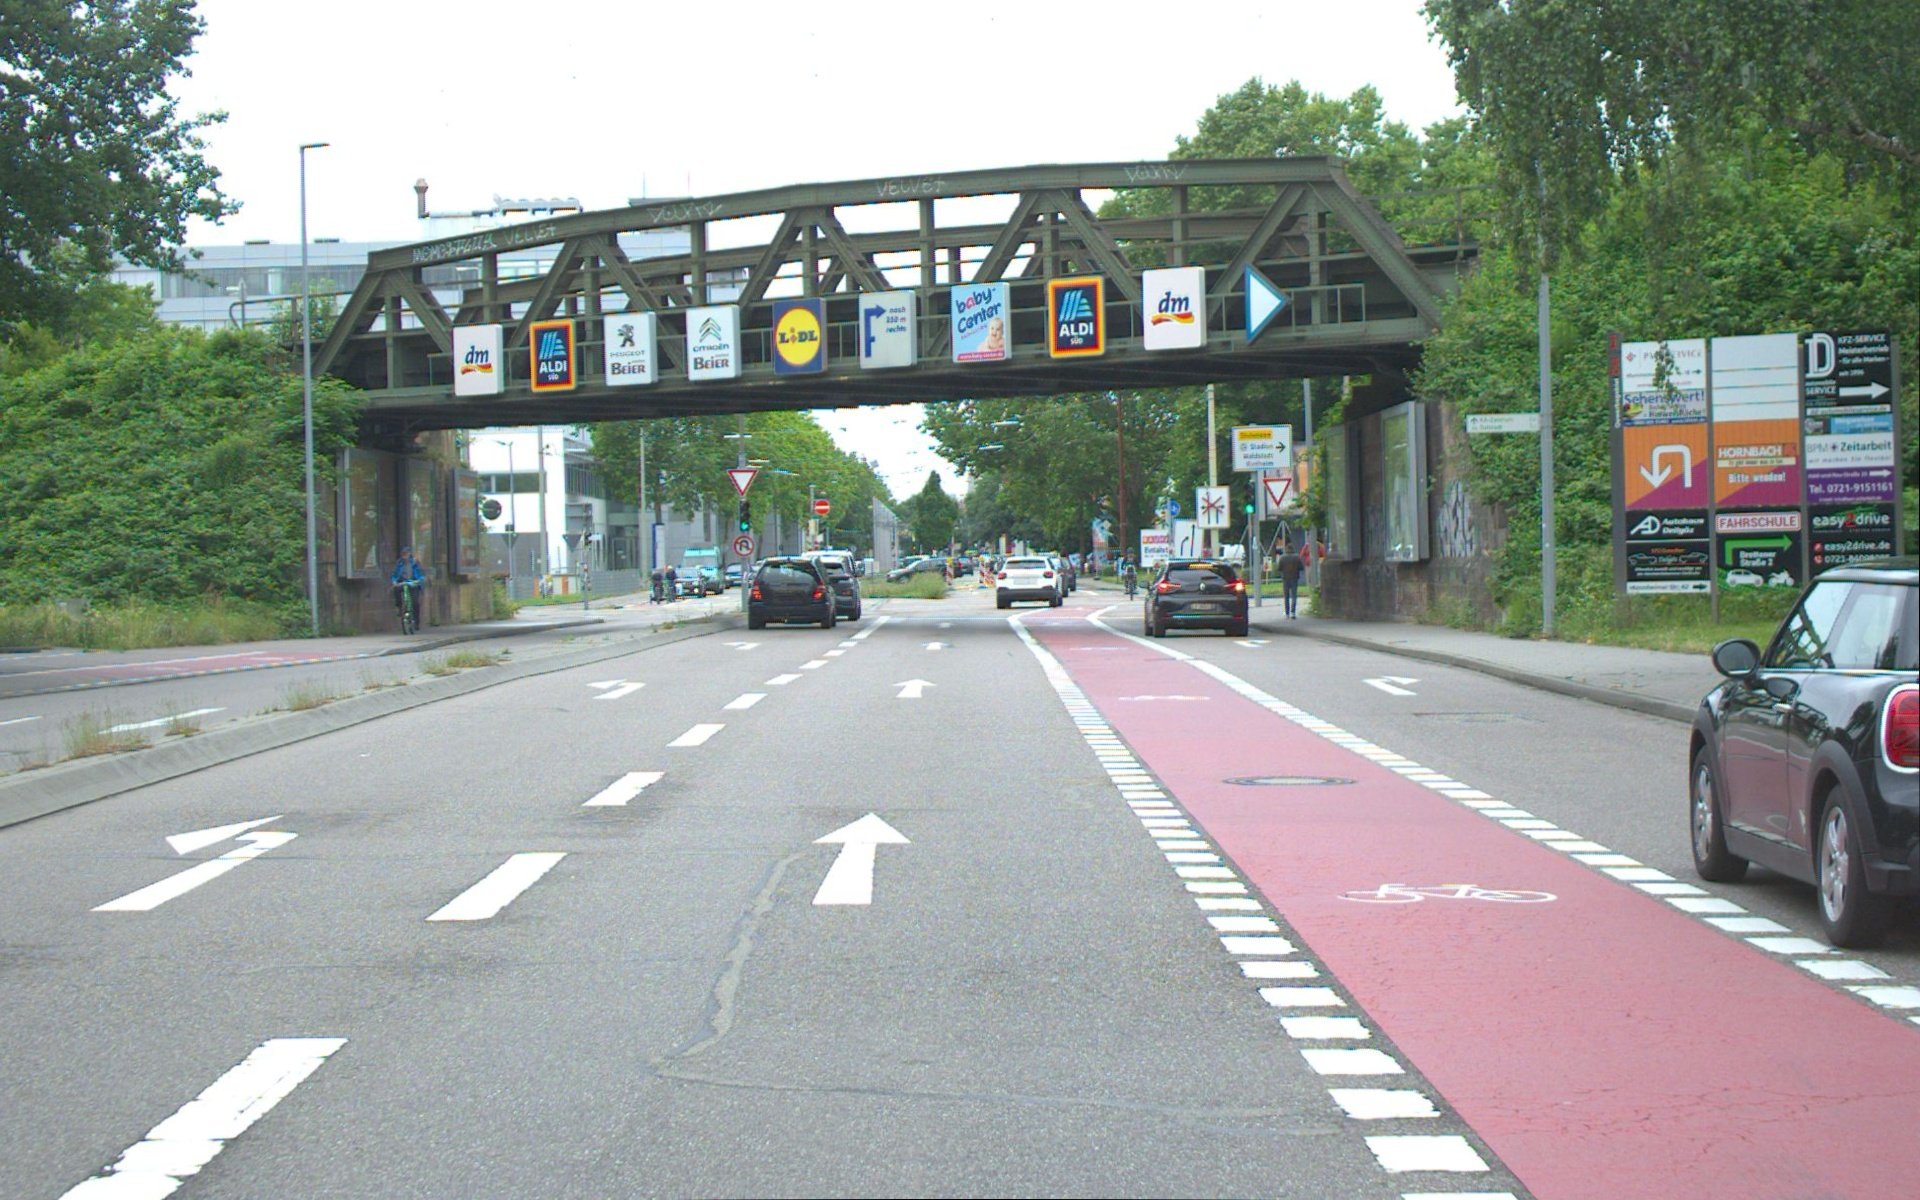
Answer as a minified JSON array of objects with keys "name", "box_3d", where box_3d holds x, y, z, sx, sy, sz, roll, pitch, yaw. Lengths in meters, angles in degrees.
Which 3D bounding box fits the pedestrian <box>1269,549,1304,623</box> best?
[{"name":"pedestrian","box_3d":[7.364,-0.315,77.471,0.742,1.634,0.778,-1,1,7]}]

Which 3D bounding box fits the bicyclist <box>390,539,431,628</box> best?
[{"name":"bicyclist","box_3d":[-11.723,-0.351,73.409,0.702,1.868,1.020,0,0,0]}]

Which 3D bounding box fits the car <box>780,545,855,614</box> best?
[{"name":"car","box_3d":[-3.479,-0.518,83.616,1.772,1.647,3.670,0,1,-3]}]

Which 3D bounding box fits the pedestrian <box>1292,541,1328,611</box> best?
[{"name":"pedestrian","box_3d":[8.836,-0.610,86.729,0.872,1.753,0.787,-1,1,6]}]

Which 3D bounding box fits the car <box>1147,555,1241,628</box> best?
[{"name":"car","box_3d":[4.264,-0.165,62.919,1.647,1.276,3.419,0,1,3]}]

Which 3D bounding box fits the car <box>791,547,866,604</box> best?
[{"name":"car","box_3d":[-3.702,-0.707,96.001,1.961,1.522,5.011,0,1,-4]}]

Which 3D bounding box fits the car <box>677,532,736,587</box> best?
[{"name":"car","box_3d":[-13.499,-2.174,183.496,2.328,2.816,5.948,-2,0,3]}]

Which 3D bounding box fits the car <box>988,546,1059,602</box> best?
[{"name":"car","box_3d":[1.853,-0.781,101.334,1.823,1.595,3.776,0,1,-3]}]

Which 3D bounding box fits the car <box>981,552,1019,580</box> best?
[{"name":"car","box_3d":[2.179,-1.859,186.977,1.795,1.508,3.706,0,1,-3]}]

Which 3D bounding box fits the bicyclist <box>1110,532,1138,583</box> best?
[{"name":"bicyclist","box_3d":[5.394,-1.399,112.955,0.816,1.624,1.235,-2,0,0]}]

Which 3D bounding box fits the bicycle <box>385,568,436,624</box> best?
[{"name":"bicycle","box_3d":[-11.728,-0.087,73.437,0.713,1.183,2.371,0,0,0]}]

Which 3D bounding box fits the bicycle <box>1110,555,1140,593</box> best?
[{"name":"bicycle","box_3d":[5.414,-0.855,112.962,0.816,1.208,2.683,-2,1,0]}]

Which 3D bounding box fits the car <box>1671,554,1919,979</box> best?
[{"name":"car","box_3d":[3.977,0.542,13.562,1.679,1.426,3.774,0,1,2]}]

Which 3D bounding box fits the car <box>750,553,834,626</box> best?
[{"name":"car","box_3d":[-3.637,-0.252,74.230,1.768,1.522,3.670,0,1,-3]}]
